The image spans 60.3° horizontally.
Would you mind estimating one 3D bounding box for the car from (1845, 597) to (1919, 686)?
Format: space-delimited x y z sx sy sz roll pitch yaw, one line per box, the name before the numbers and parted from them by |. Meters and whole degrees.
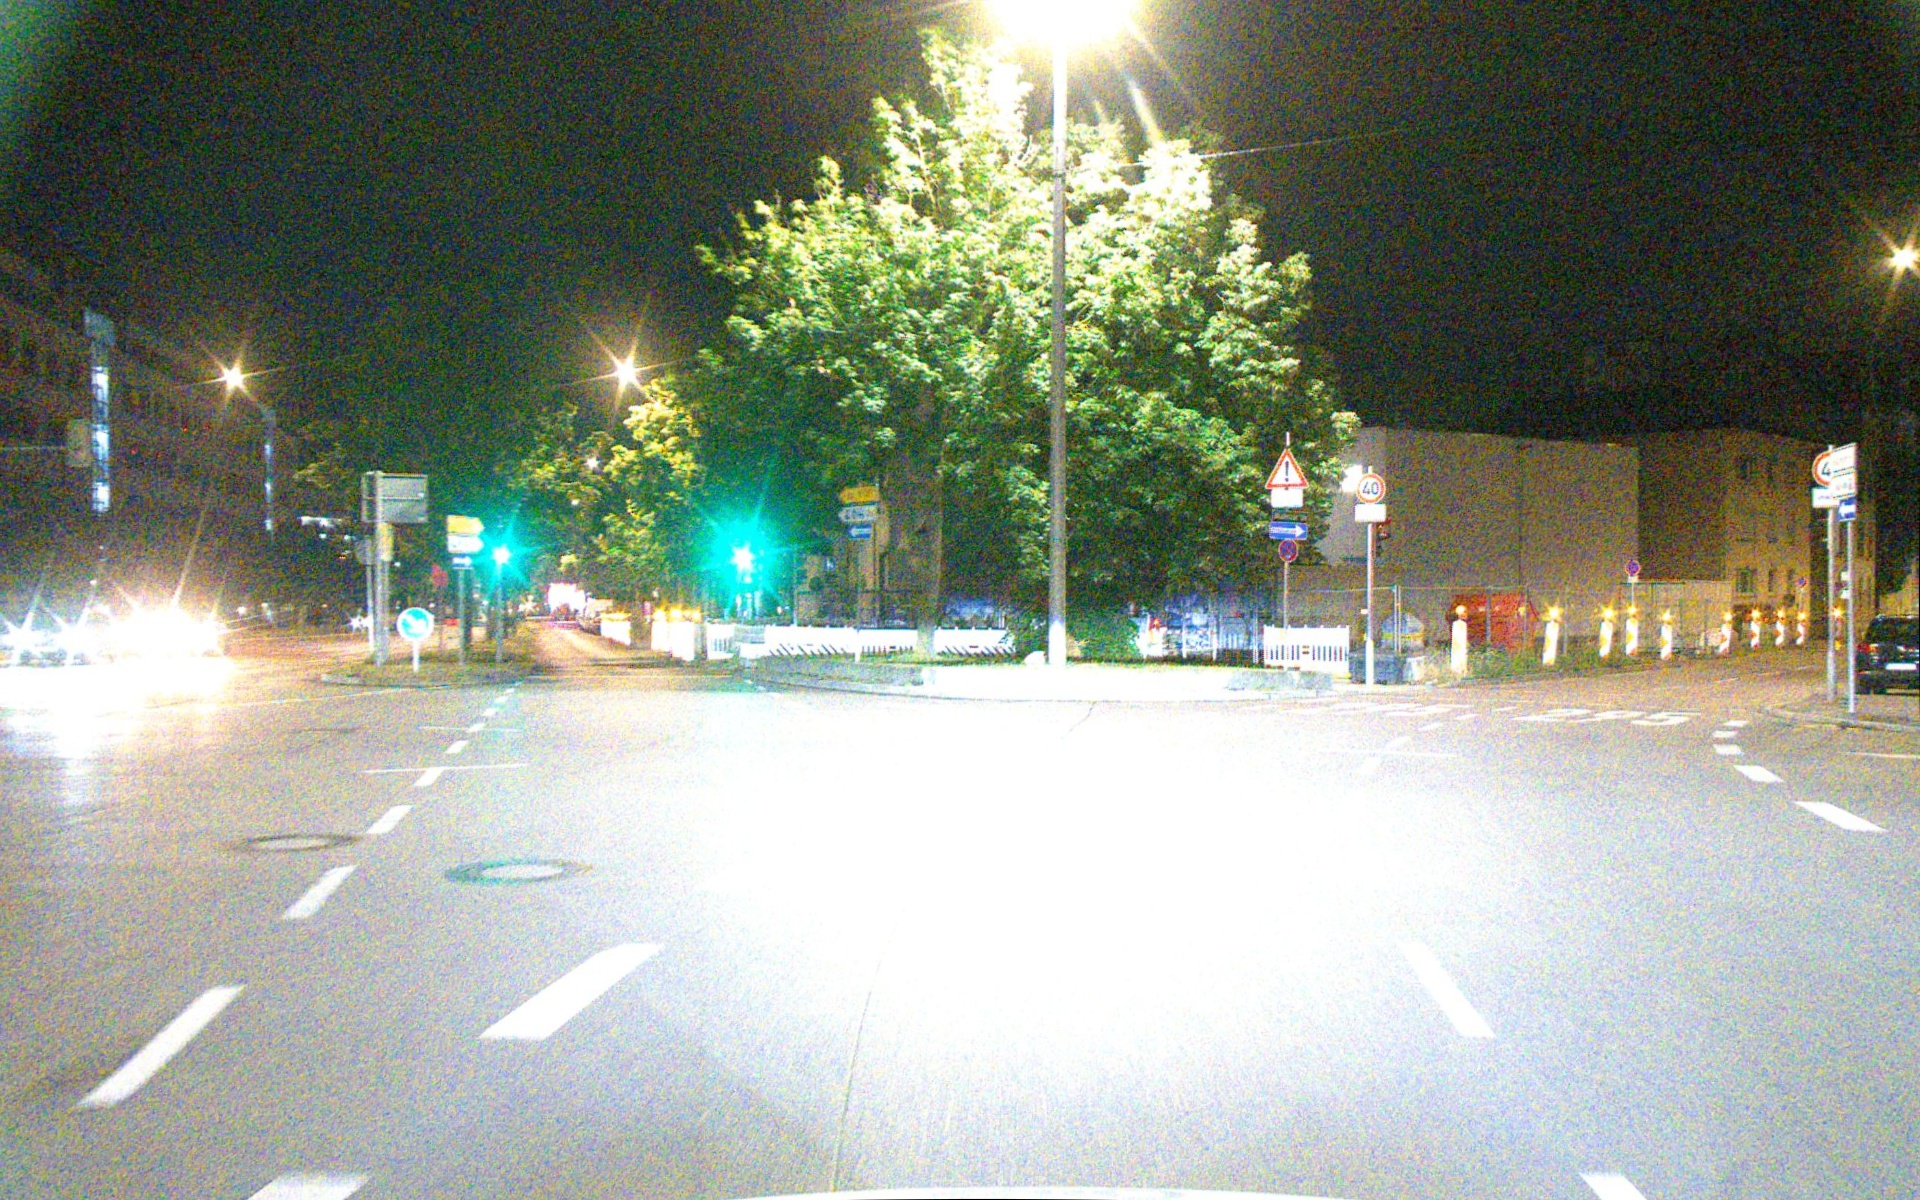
car | 19.290 0.829 33.660 1.714 1.712 4.243 -2 -2 35
